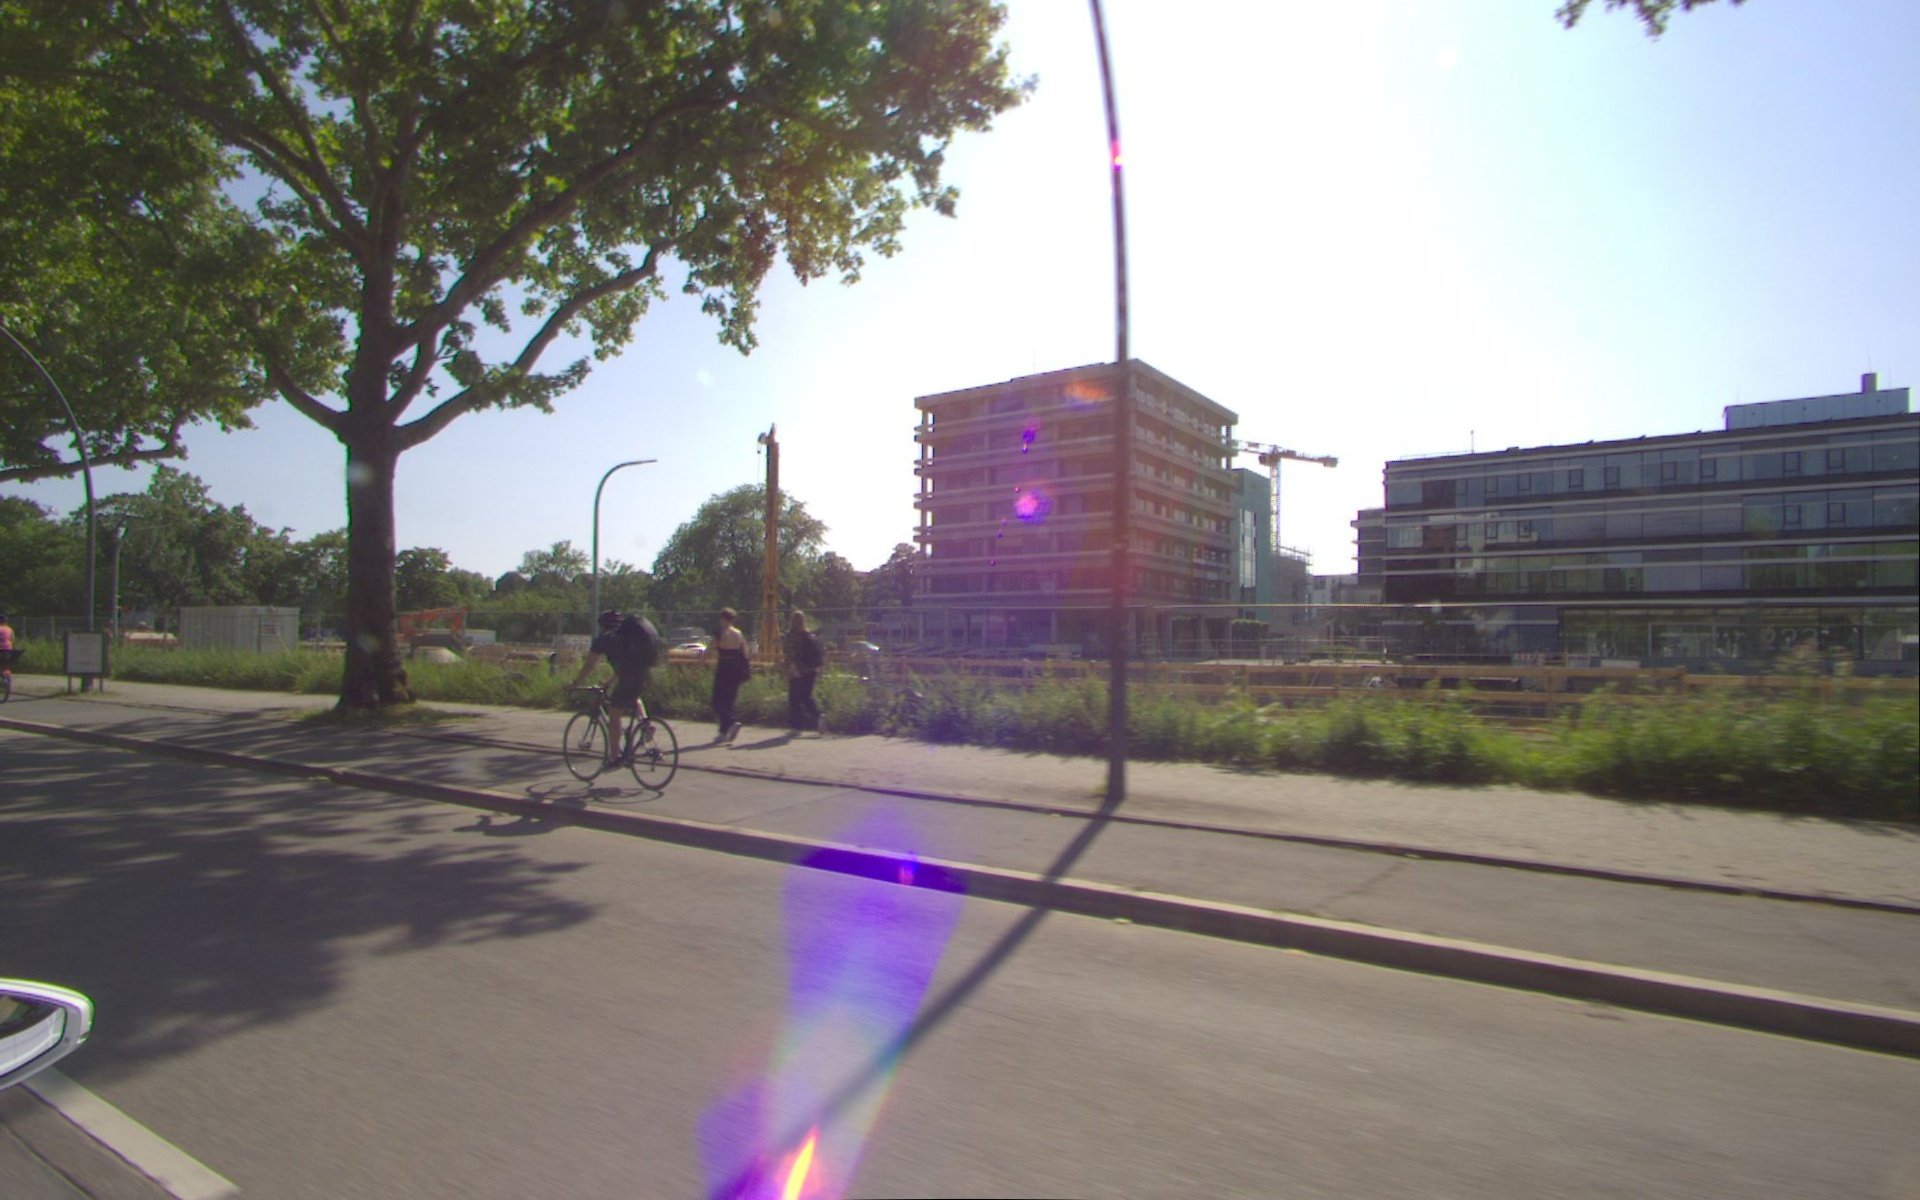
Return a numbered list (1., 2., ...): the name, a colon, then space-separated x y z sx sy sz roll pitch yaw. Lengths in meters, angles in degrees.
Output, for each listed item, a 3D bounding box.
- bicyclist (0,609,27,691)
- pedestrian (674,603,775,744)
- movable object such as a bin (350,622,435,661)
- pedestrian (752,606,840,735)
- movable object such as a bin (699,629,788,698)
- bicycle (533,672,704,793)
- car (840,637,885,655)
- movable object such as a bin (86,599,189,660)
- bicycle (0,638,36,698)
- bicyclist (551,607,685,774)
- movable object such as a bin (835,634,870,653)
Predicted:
1. bicyclist: -19.226 0.998 20.064 0.722 1.621 0.618 0 0 32
2. pedestrian: -3.054 0.929 12.971 1.051 1.746 0.709 0 -2 32
3. movable object such as a bin: -46.486 3.454 82.112 3.249 3.012 5.167 -1 -3 34
4. pedestrian: -2.254 0.946 13.760 0.945 1.704 0.695 0 -2 32
5. movable object such as a bin: -18.200 5.275 83.698 6.634 5.240 11.769 2 -3 -13
6. bicycle: -3.317 1.239 9.670 1.756 0.993 0.596 0 0 33
7. car: -9.847 4.624 101.025 4.376 1.794 1.787 -1 -3 36
8. movable object such as a bin: -44.685 1.599 54.371 5.897 3.110 2.367 0 -3 31
9. bicycle: -19.311 1.343 20.122 1.918 1.144 0.650 -1 -1 34
10. bicyclist: -3.302 0.829 9.648 1.197 1.509 0.597 0 1 32
11. movable object such as a bin: -11.719 4.713 109.229 2.631 2.039 2.746 -1 -3 32
